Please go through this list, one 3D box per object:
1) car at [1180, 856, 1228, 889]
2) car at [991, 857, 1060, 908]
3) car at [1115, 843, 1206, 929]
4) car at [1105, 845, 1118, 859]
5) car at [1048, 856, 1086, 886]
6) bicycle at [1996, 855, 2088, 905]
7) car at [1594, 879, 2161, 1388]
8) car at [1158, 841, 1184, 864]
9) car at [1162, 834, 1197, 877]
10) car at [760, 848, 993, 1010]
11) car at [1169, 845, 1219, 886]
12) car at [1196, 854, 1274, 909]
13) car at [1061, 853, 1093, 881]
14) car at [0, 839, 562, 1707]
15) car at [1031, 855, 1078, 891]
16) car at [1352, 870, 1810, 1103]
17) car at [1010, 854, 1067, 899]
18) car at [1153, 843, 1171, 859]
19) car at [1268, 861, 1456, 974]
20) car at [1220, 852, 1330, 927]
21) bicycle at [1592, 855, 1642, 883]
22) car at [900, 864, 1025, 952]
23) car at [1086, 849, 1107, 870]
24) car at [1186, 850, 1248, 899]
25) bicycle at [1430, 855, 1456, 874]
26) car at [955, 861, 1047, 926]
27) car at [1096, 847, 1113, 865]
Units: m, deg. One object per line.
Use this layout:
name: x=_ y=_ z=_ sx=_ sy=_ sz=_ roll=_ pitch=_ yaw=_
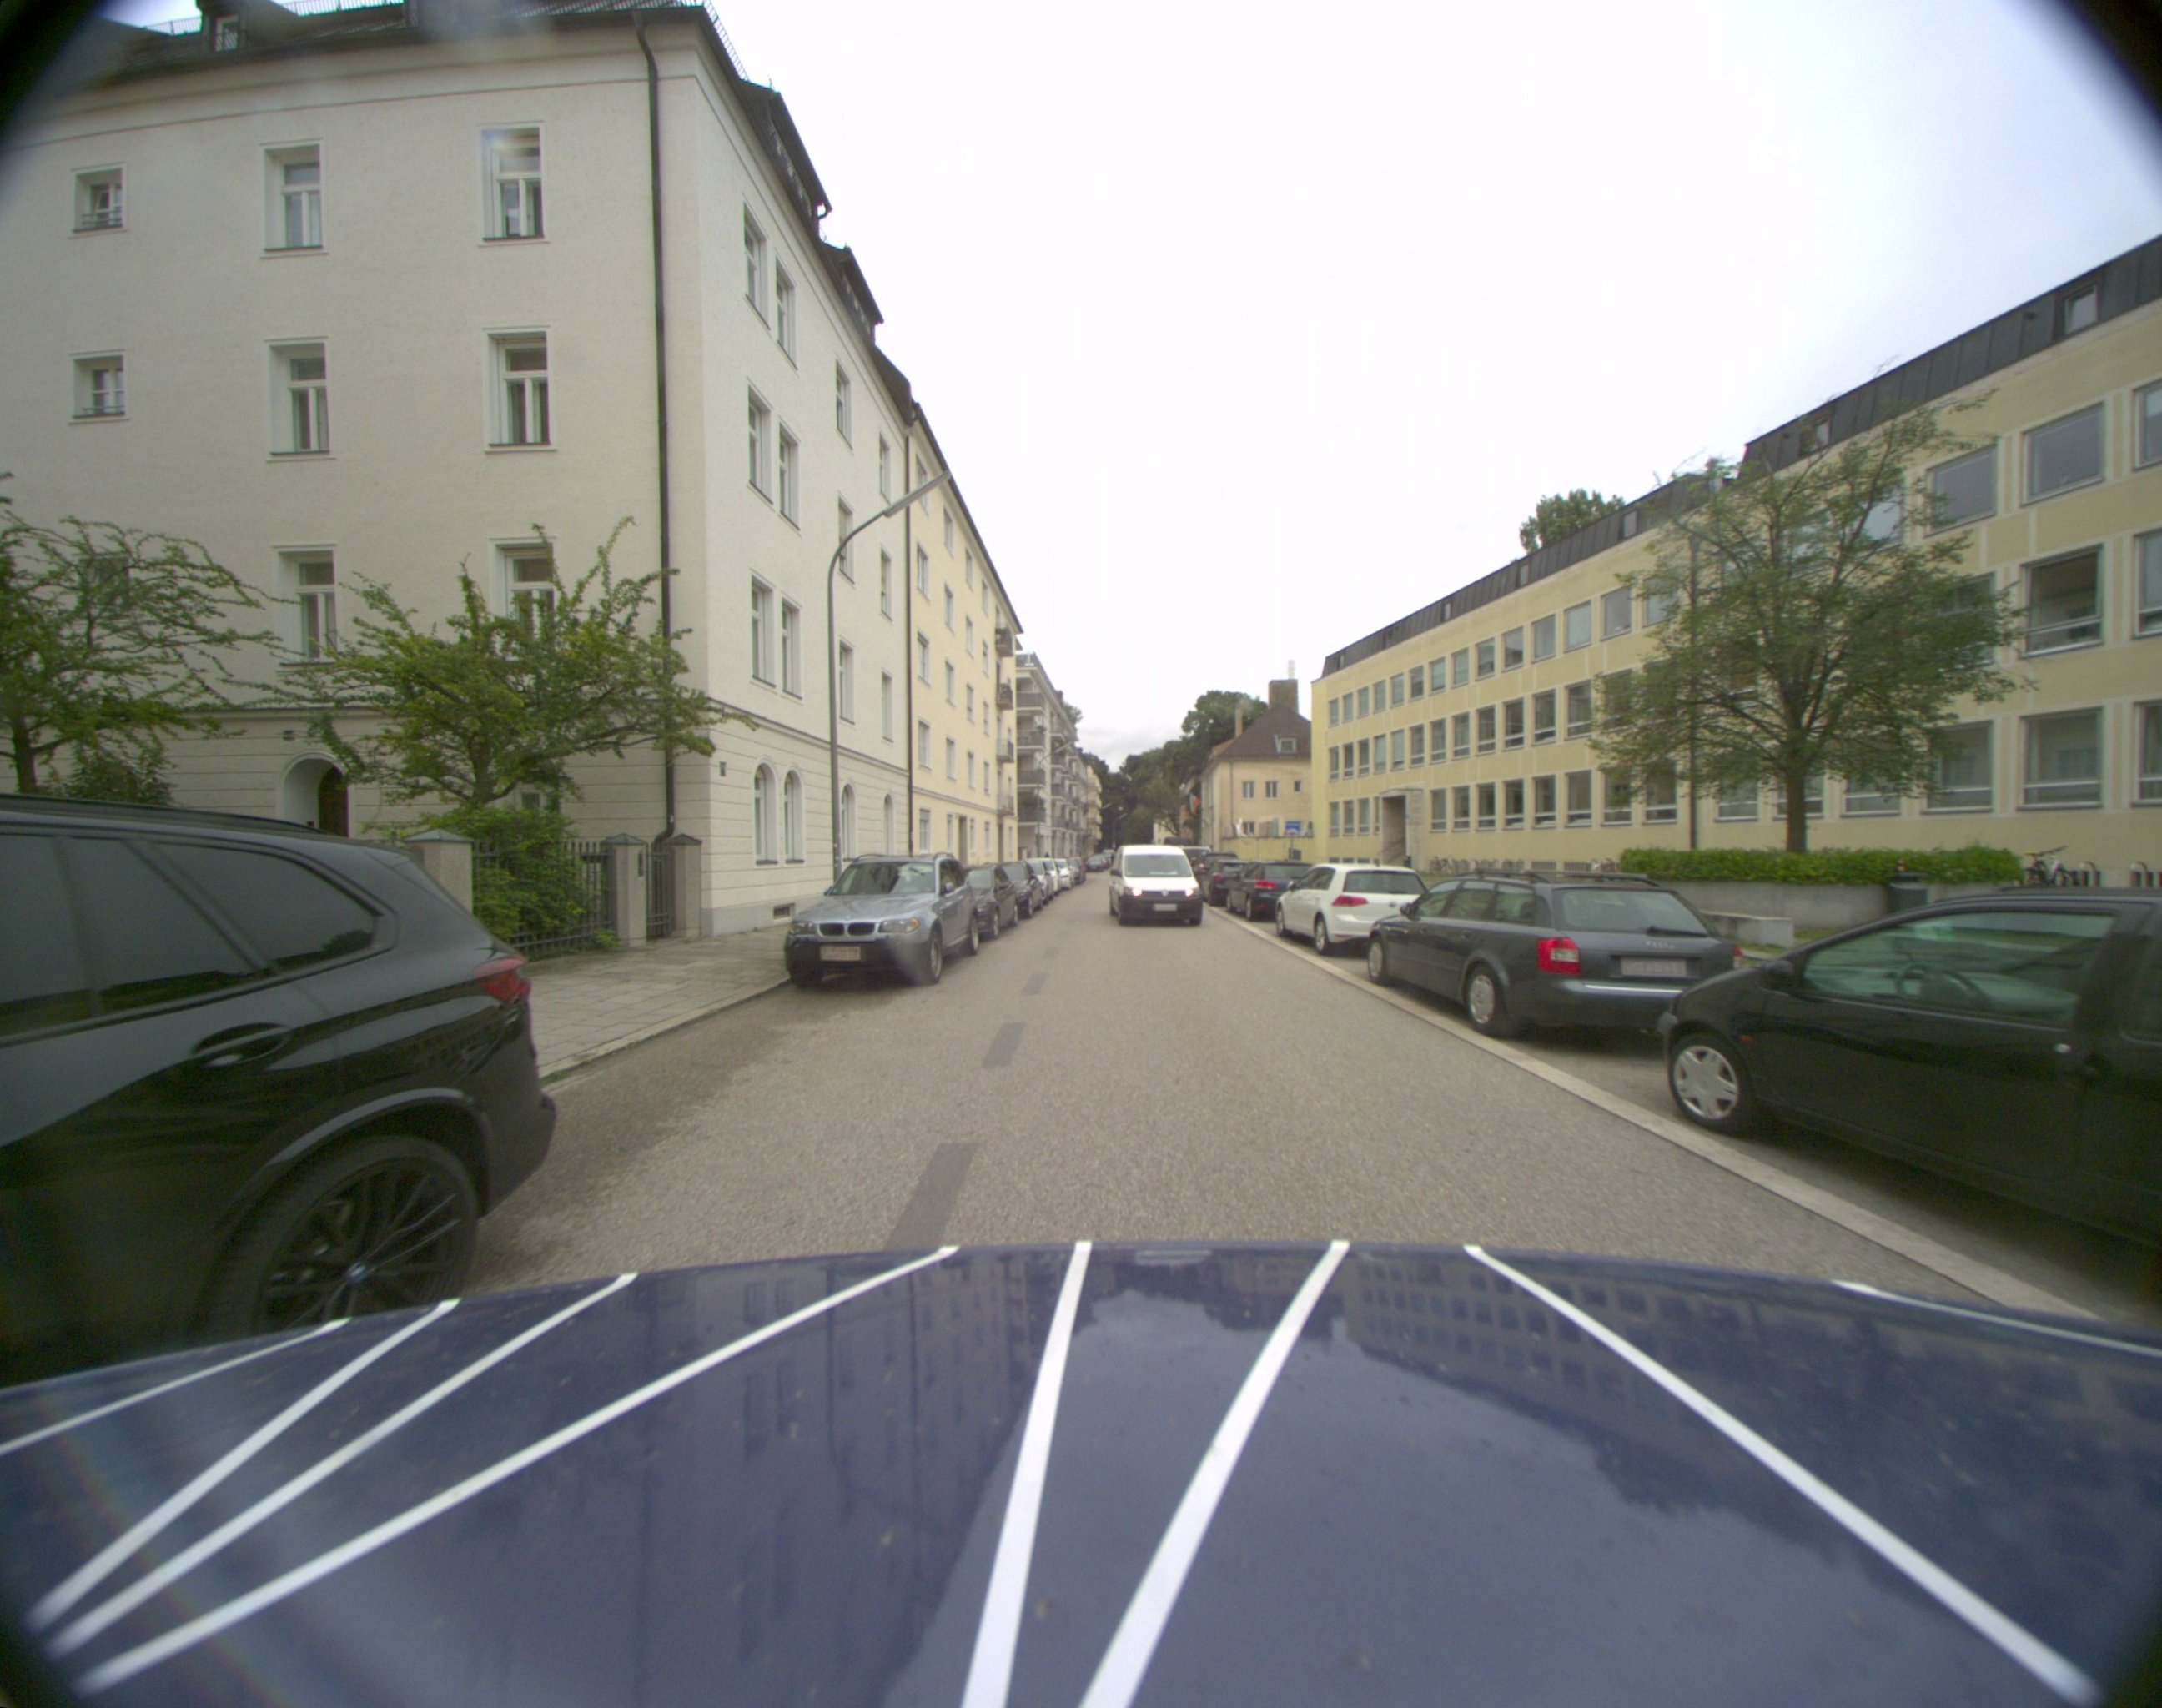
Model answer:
car: x=5.610 y=0.813 z=35.014 sx=1.744 sy=1.396 sz=3.456 roll=1 pitch=1 yaw=2
car: x=-1.829 y=0.924 z=26.480 sx=1.841 sy=1.426 sz=4.653 roll=-3 pitch=1 yaw=2
car: x=1.783 y=0.626 z=18.245 sx=1.884 sy=1.762 sz=4.925 roll=0 pitch=1 yaw=3
car: x=4.350 y=-0.299 z=107.655 sx=1.638 sy=1.726 sz=3.880 roll=-2 pitch=1 yaw=3
car: x=-0.722 y=0.884 z=41.256 sx=1.742 sy=1.367 sz=4.022 roll=-3 pitch=1 yaw=2
bicycle: x=22.183 y=0.585 z=17.544 sx=1.837 sy=1.023 sz=0.574 roll=-3 pitch=1 yaw=-13
car: x=4.280 y=0.939 z=3.185 sx=1.725 sy=1.473 sz=3.753 roll=1 pitch=1 yaw=1
car: x=8.855 y=-0.163 z=75.088 sx=2.214 sy=2.070 sz=4.960 roll=-2 pitch=1 yaw=3
car: x=6.714 y=0.069 z=52.239 sx=1.998 sy=2.702 sz=4.960 roll=-2 pitch=1 yaw=3
car: x=-2.560 y=0.835 z=10.732 sx=1.782 sy=1.720 sz=4.390 roll=-2 pitch=1 yaw=3
car: x=5.760 y=0.543 z=39.154 sx=1.949 sy=1.965 sz=4.355 roll=1 pitch=1 yaw=1
car: x=4.730 y=0.792 z=23.818 sx=1.744 sy=1.459 sz=3.686 roll=-3 pitch=1 yaw=2
car: x=-0.220 y=0.767 z=47.127 sx=1.742 sy=1.507 sz=4.022 roll=-3 pitch=1 yaw=2
car: x=-3.146 y=0.864 z=0.645 sx=1.932 sy=1.719 sz=4.689 roll=-2 pitch=-1 yaw=3
car: x=-1.185 y=0.841 z=35.814 sx=1.841 sy=1.450 sz=4.022 roll=-3 pitch=1 yaw=2
car: x=4.267 y=0.983 z=7.454 sx=1.725 sy=1.473 sz=4.204 roll=1 pitch=1 yaw=1
car: x=-1.673 y=0.867 z=31.297 sx=1.841 sy=1.538 sz=4.268 roll=-3 pitch=1 yaw=2
car: x=11.376 y=-0.388 z=107.148 sx=2.214 sy=2.070 sz=4.960 roll=-2 pitch=1 yaw=3
car: x=4.534 y=0.933 z=12.927 sx=1.725 sy=1.521 sz=3.999 roll=1 pitch=1 yaw=1
car: x=4.726 y=0.796 z=19.059 sx=1.744 sy=1.536 sz=4.082 roll=-3 pitch=1 yaw=1
bicycle: x=20.435 y=0.558 z=28.993 sx=1.739 sy=0.983 sz=0.389 roll=-3 pitch=1 yaw=-8
car: x=-2.328 y=1.019 z=16.018 sx=1.707 sy=1.434 sz=4.056 roll=-2 pitch=1 yaw=3
car: x=1.465 y=0.464 z=69.958 sx=1.638 sy=1.726 sz=3.880 roll=-2 pitch=1 yaw=3
car: x=5.107 y=0.722 z=28.932 sx=1.744 sy=1.679 sz=4.122 roll=1 pitch=1 yaw=2
bicycle: x=18.320 y=0.541 z=38.485 sx=1.244 sy=0.897 sz=0.288 roll=-3 pitch=1 yaw=-11
car: x=-2.043 y=0.984 z=20.749 sx=1.802 sy=1.406 sz=4.529 roll=-3 pitch=1 yaw=2
car: x=2.504 y=0.206 z=80.638 sx=1.638 sy=1.726 sz=3.880 roll=-2 pitch=1 yaw=3
